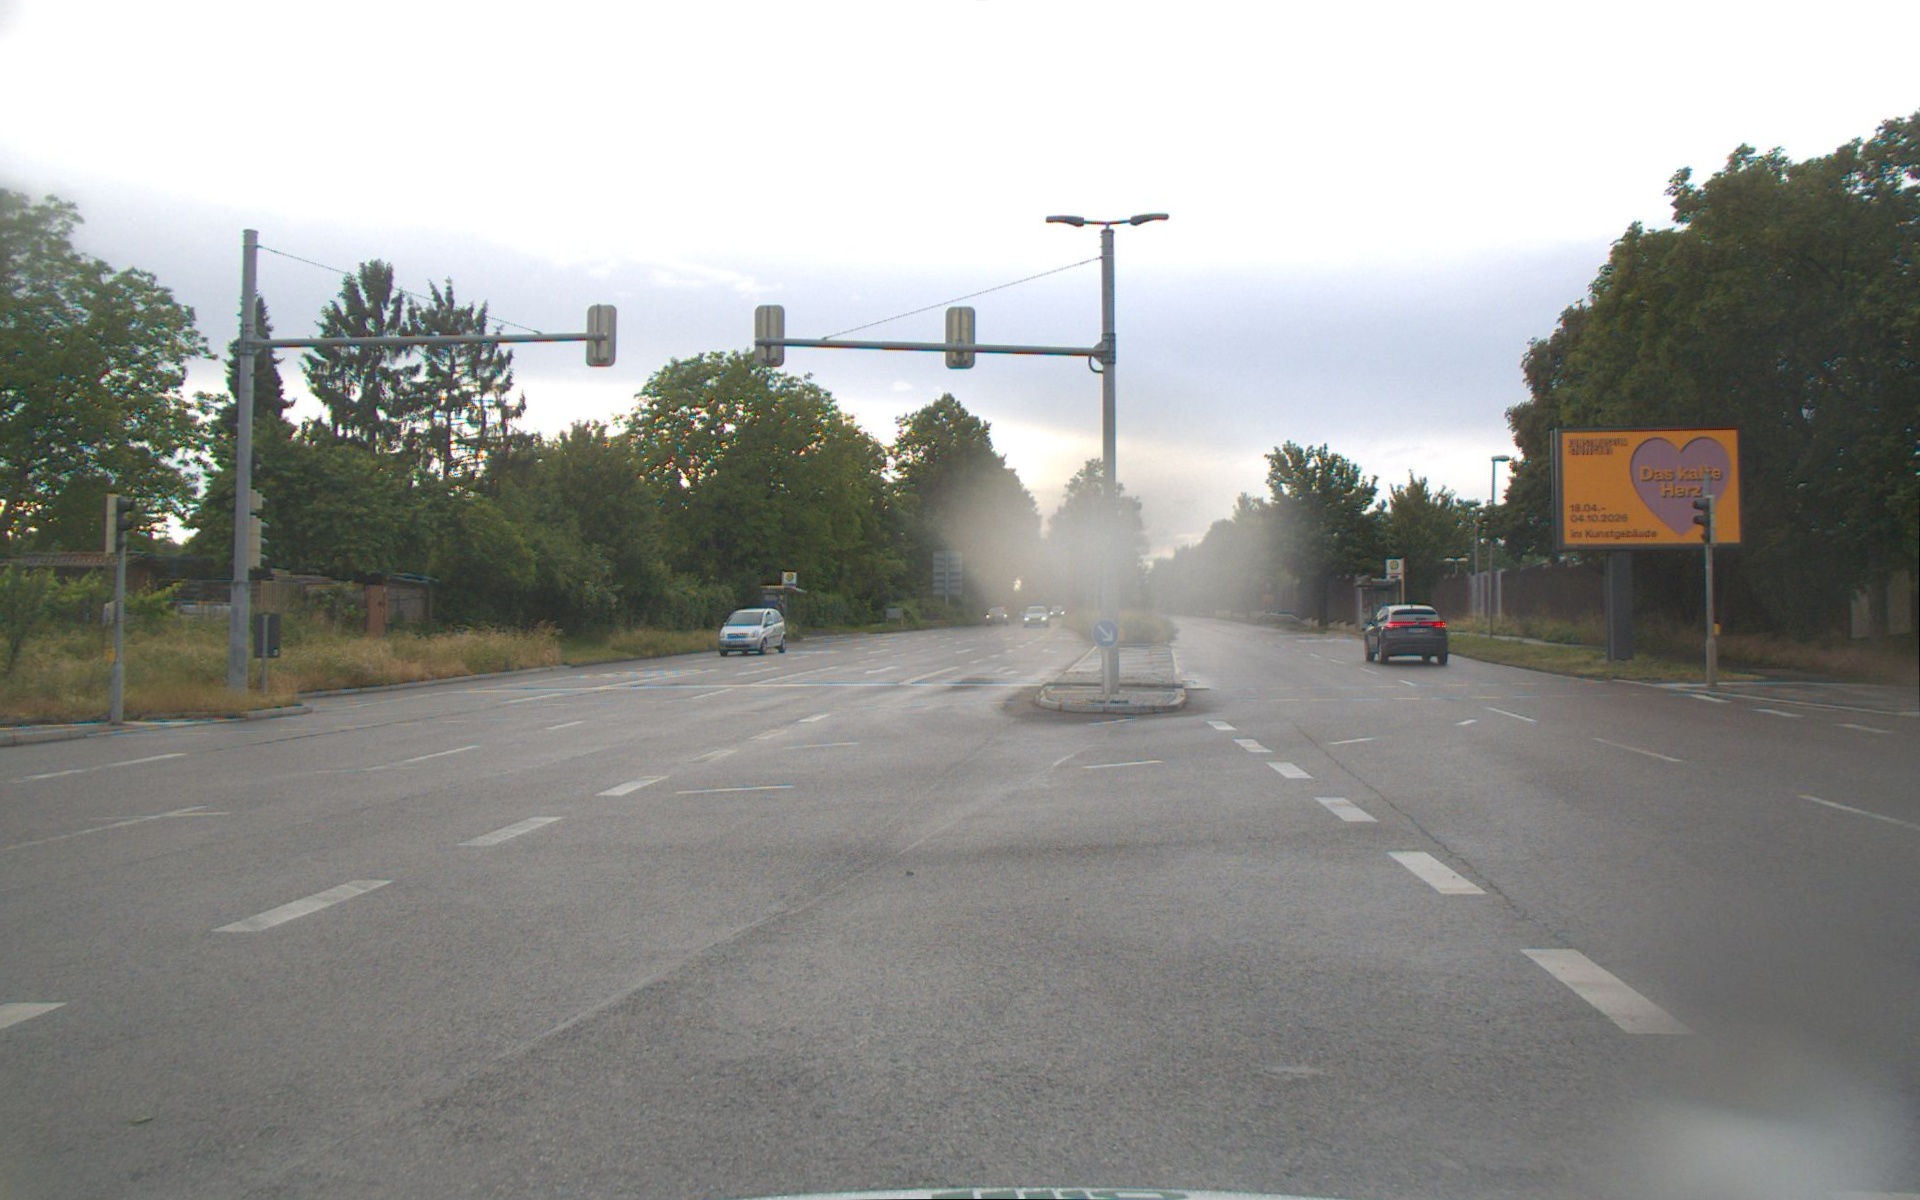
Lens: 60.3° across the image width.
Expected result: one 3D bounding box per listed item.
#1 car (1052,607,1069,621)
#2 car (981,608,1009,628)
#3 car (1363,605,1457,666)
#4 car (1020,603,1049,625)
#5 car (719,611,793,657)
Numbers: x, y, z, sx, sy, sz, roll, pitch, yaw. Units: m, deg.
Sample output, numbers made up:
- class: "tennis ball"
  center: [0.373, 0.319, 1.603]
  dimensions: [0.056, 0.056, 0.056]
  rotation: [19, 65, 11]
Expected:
- class: "car"
  center: [11.770, 1.580, 193.066]
  dimensions: [1.853, 1.624, 4.492]
  rotation: [0, 0, 6]
- class: "car"
  center: [2.834, 1.431, 133.514]
  dimensions: [1.853, 1.624, 4.492]
  rotation: [0, 0, 6]
- class: "car"
  center: [11.701, 0.897, 43.206]
  dimensions: [1.708, 1.496, 4.168]
  rotation: [0, 0, 6]
- class: "car"
  center: [5.351, 0.974, 118.228]
  dimensions: [1.853, 1.561, 4.492]
  rotation: [0, 0, 6]
- class: "car"
  center: [-7.395, 1.220, 60.418]
  dimensions: [1.731, 1.624, 4.492]
  rotation: [0, 0, 6]
